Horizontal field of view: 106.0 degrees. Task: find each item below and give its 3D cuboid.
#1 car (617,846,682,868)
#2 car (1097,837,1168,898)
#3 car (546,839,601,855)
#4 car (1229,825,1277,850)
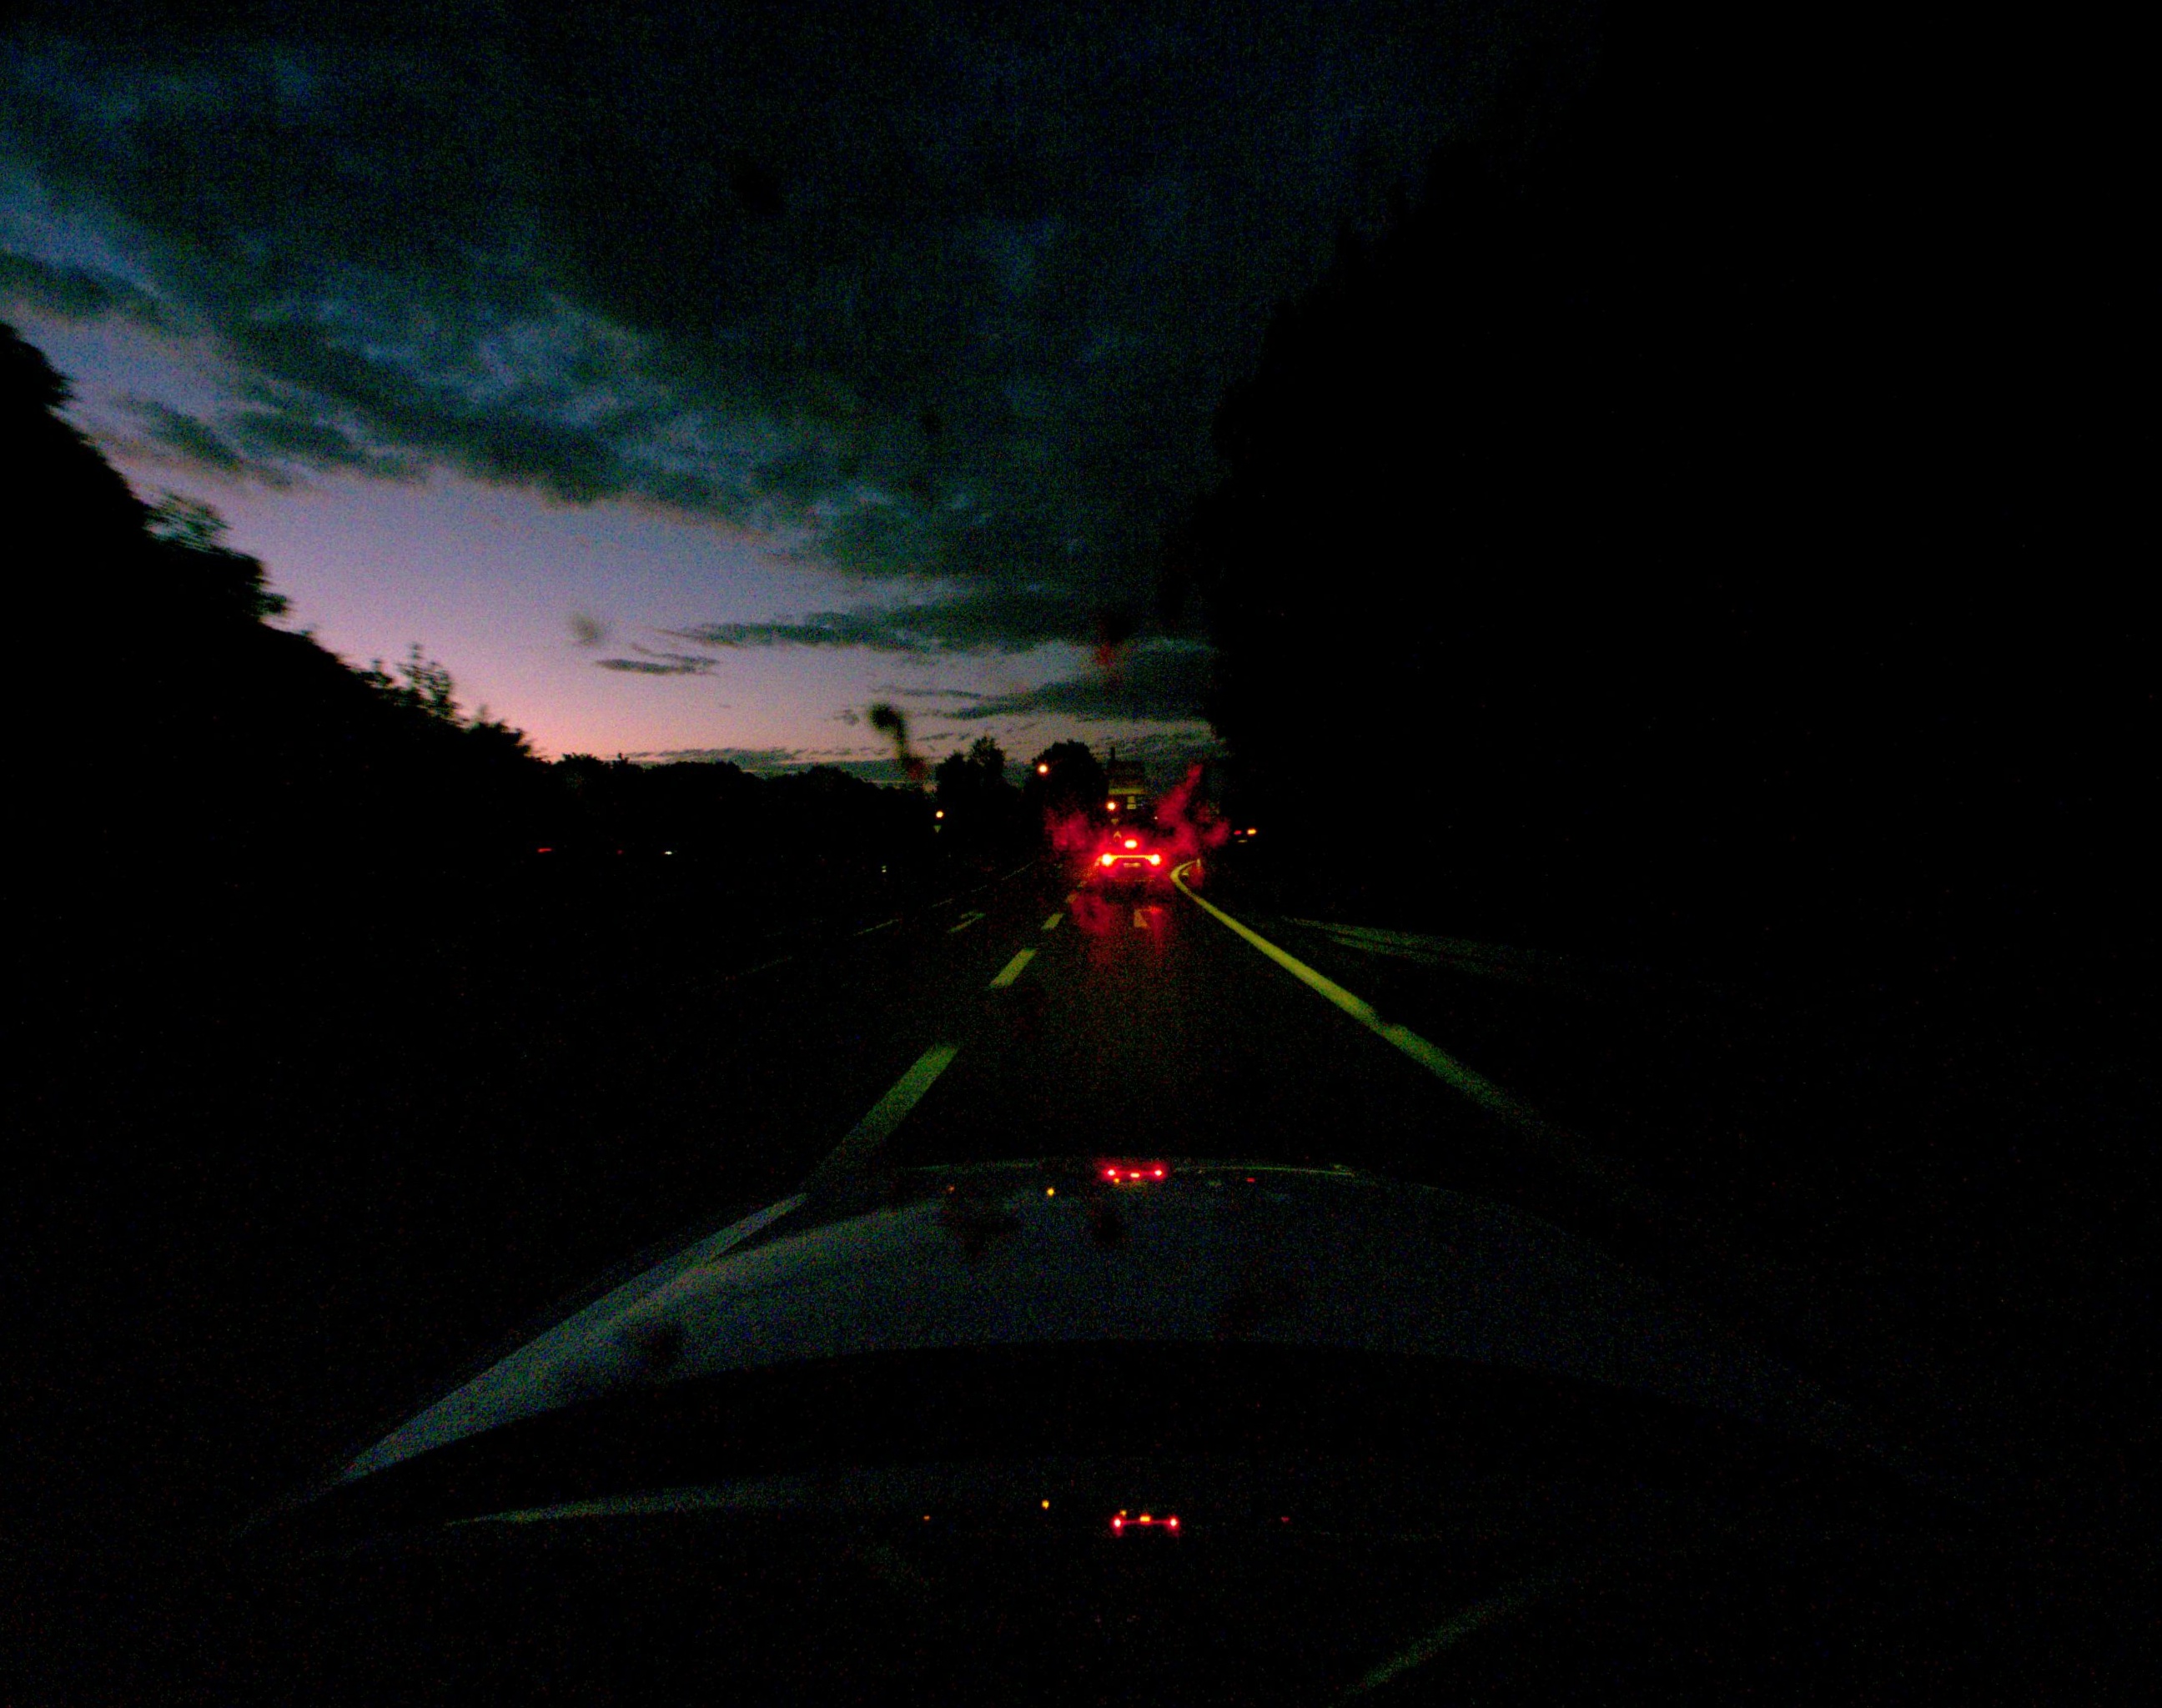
[{"bbox_3d":[-33.088,0.220,62.570,3.991,1.453,1.991,-3,1,-13],"label":"car"},{"bbox_3d":[1.488,0.383,24.713,1.894,1.620,4.557,-2,0,1],"label":"car"},{"bbox_3d":[-48.170,-0.662,77.360,3.990,1.453,1.992,0,0,-12],"label":"car"},{"bbox_3d":[12.307,-1.167,58.083,1.764,1.653,4.025,-2,-1,36],"label":"car"}]
